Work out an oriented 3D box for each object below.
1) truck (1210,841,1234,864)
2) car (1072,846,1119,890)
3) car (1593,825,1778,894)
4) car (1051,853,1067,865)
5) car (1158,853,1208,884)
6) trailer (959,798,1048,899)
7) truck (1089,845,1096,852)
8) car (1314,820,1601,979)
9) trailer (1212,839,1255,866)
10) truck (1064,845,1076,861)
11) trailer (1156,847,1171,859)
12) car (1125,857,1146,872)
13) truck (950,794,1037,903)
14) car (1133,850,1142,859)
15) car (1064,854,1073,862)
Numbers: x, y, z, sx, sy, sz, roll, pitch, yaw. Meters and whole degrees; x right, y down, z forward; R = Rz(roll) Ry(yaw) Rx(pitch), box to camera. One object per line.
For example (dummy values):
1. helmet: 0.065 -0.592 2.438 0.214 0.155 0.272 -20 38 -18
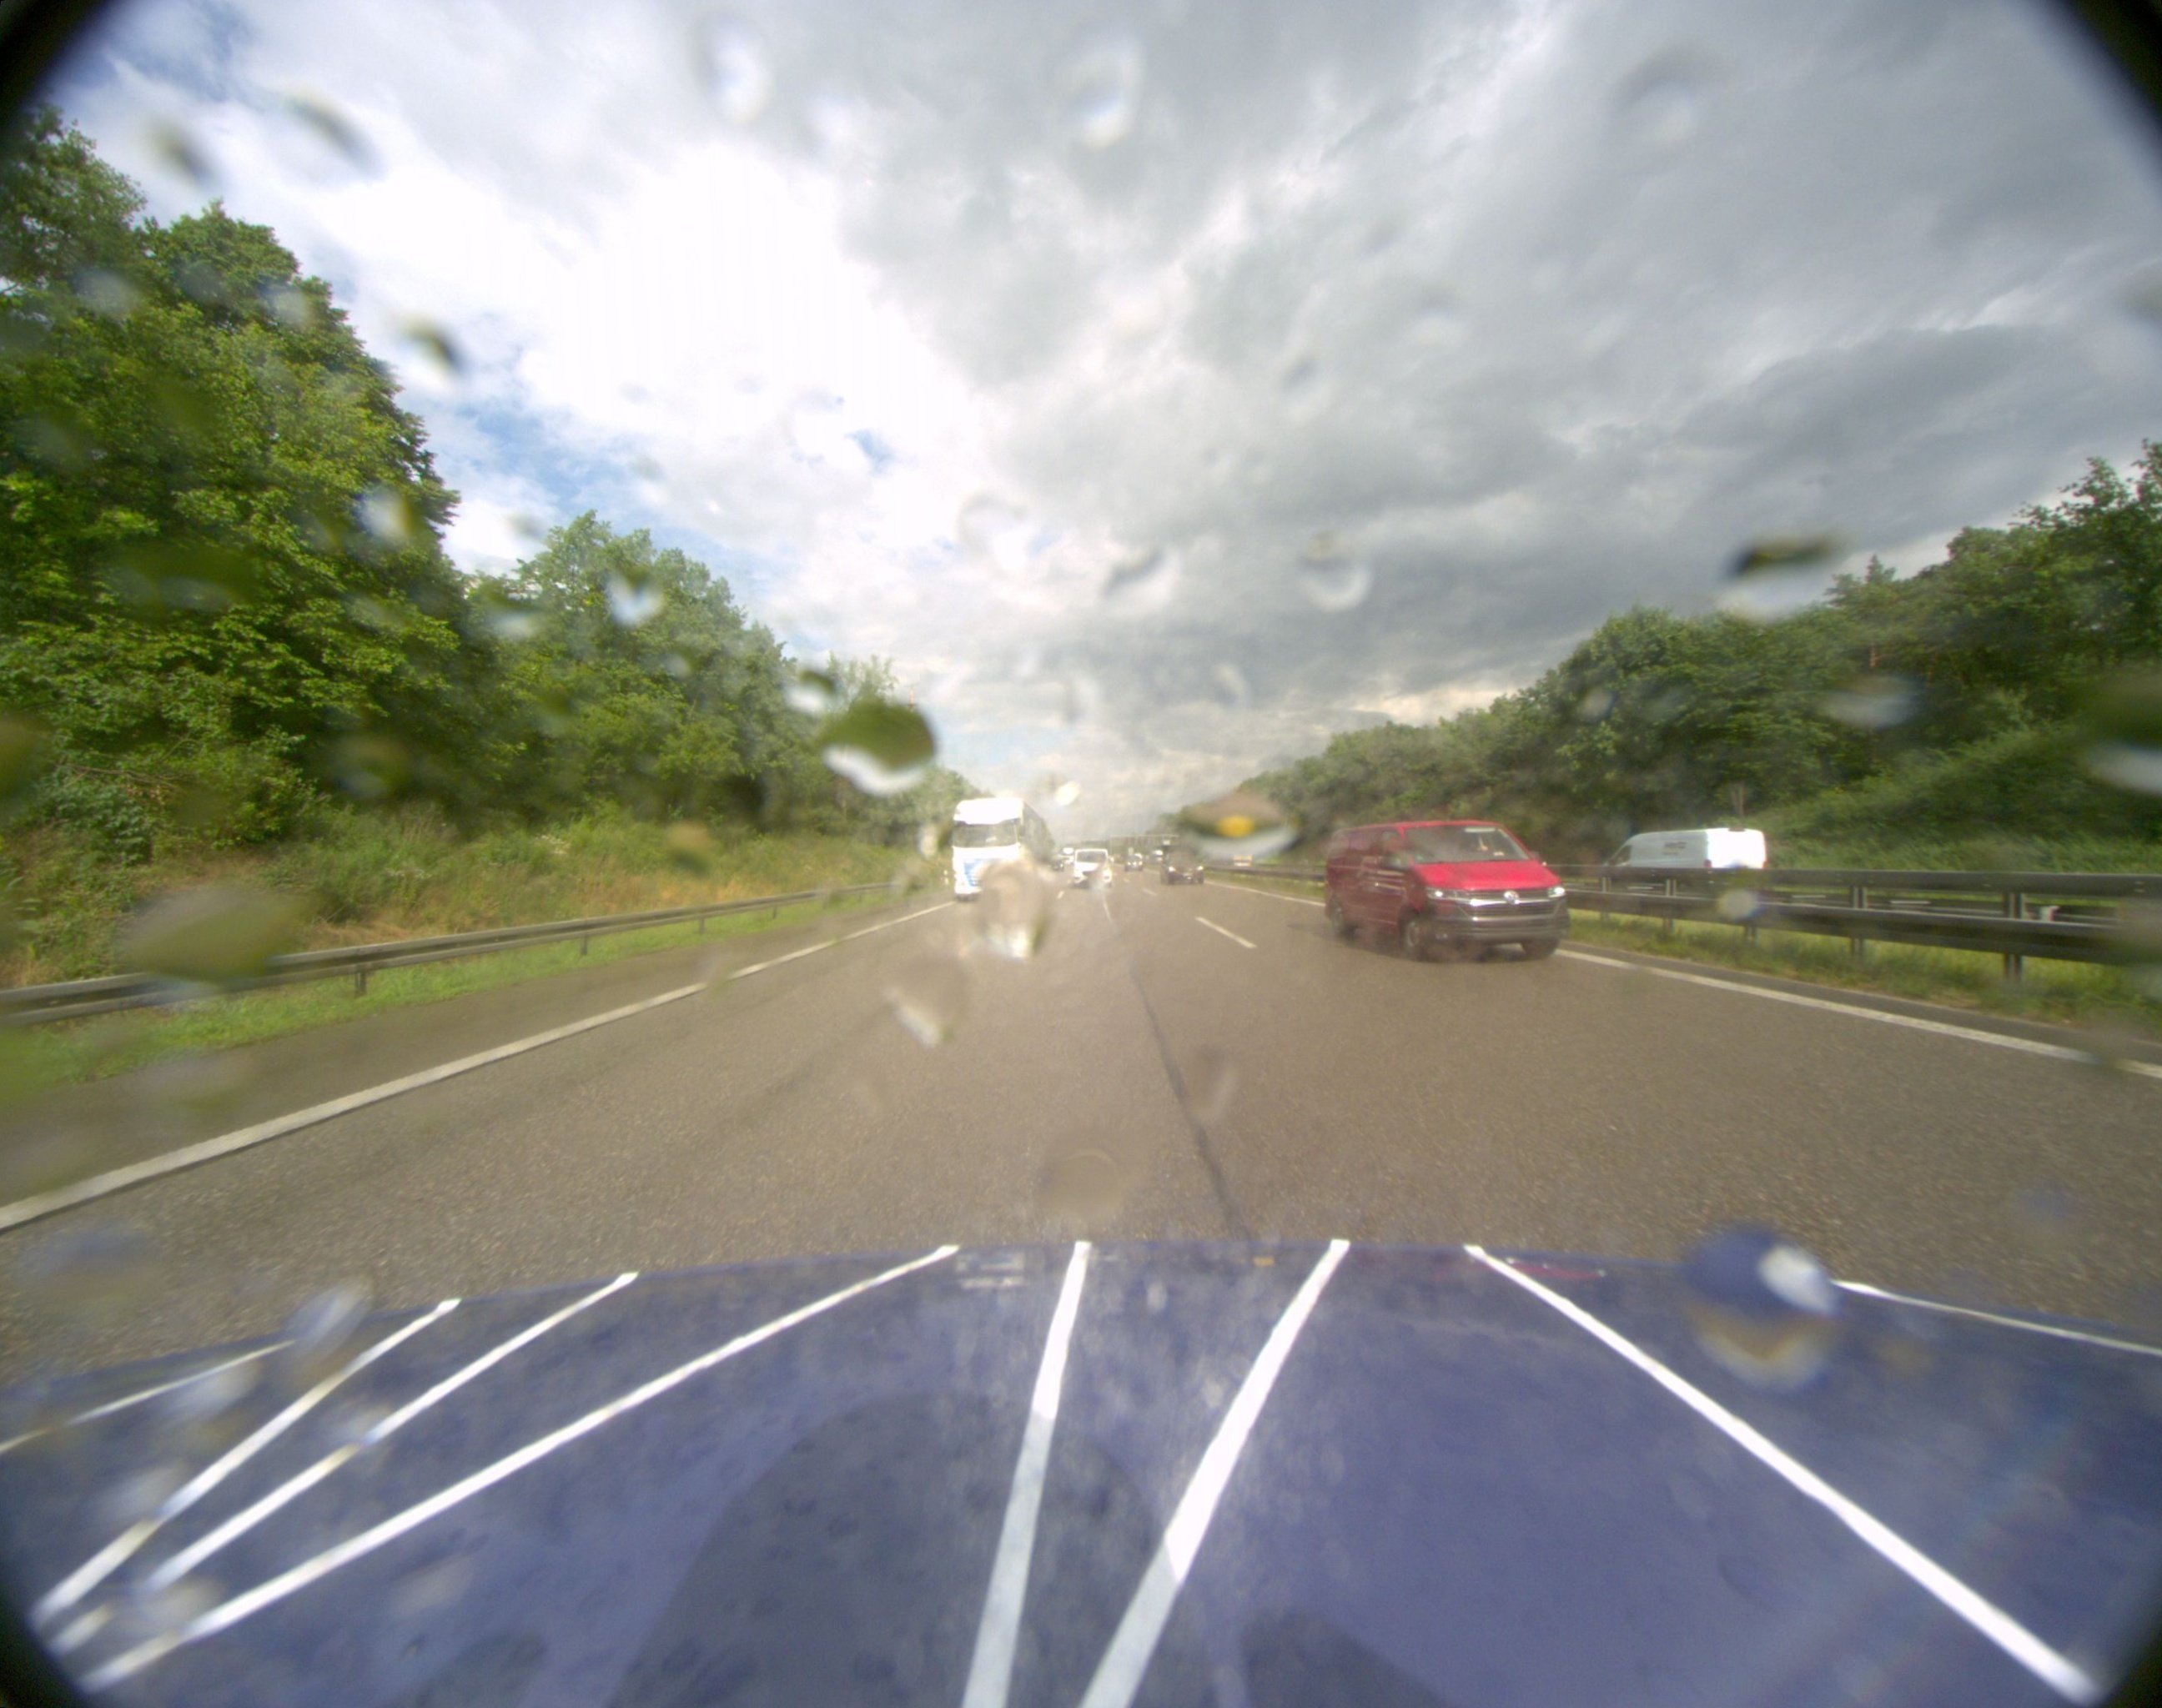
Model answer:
1. truck: 22.801 -0.260 122.876 2.730 3.643 5.330 -2 0 -1
2. car: 0.672 0.641 38.801 2.124 1.988 5.982 -2 0 0
3. car: 22.179 0.172 28.322 2.150 2.236 5.979 -2 0 1
4. car: -2.643 0.583 92.028 1.799 1.410 4.838 -2 0 0
5. car: 5.410 0.750 40.946 2.009 1.488 4.838 -2 0 0
6. trailer: -3.412 -0.258 37.584 2.641 3.972 14.063 -2 0 1
7. truck: 3.164 -1.448 208.799 1.933 2.002 5.948 -1 0 -1
8. car: 5.291 0.537 11.594 1.927 1.855 4.838 -2 0 0
9. trailer: 22.861 -0.228 115.081 2.730 3.623 16.674 -2 0 -1
10. truck: -2.794 -0.226 195.661 3.064 3.827 8.799 -1 0 -1
11. trailer: 27.161 -0.460 251.528 2.998 3.809 17.950 -3 0 0
12. car: 5.635 1.066 79.257 1.799 1.410 4.838 -2 0 0
13. truck: -3.483 -0.231 32.079 2.613 3.972 7.290 -2 0 1
14. car: 17.772 0.100 238.767 2.268 2.853 6.788 -2 0 0
15. car: -2.485 0.831 152.872 1.799 1.410 4.838 -2 0 0
